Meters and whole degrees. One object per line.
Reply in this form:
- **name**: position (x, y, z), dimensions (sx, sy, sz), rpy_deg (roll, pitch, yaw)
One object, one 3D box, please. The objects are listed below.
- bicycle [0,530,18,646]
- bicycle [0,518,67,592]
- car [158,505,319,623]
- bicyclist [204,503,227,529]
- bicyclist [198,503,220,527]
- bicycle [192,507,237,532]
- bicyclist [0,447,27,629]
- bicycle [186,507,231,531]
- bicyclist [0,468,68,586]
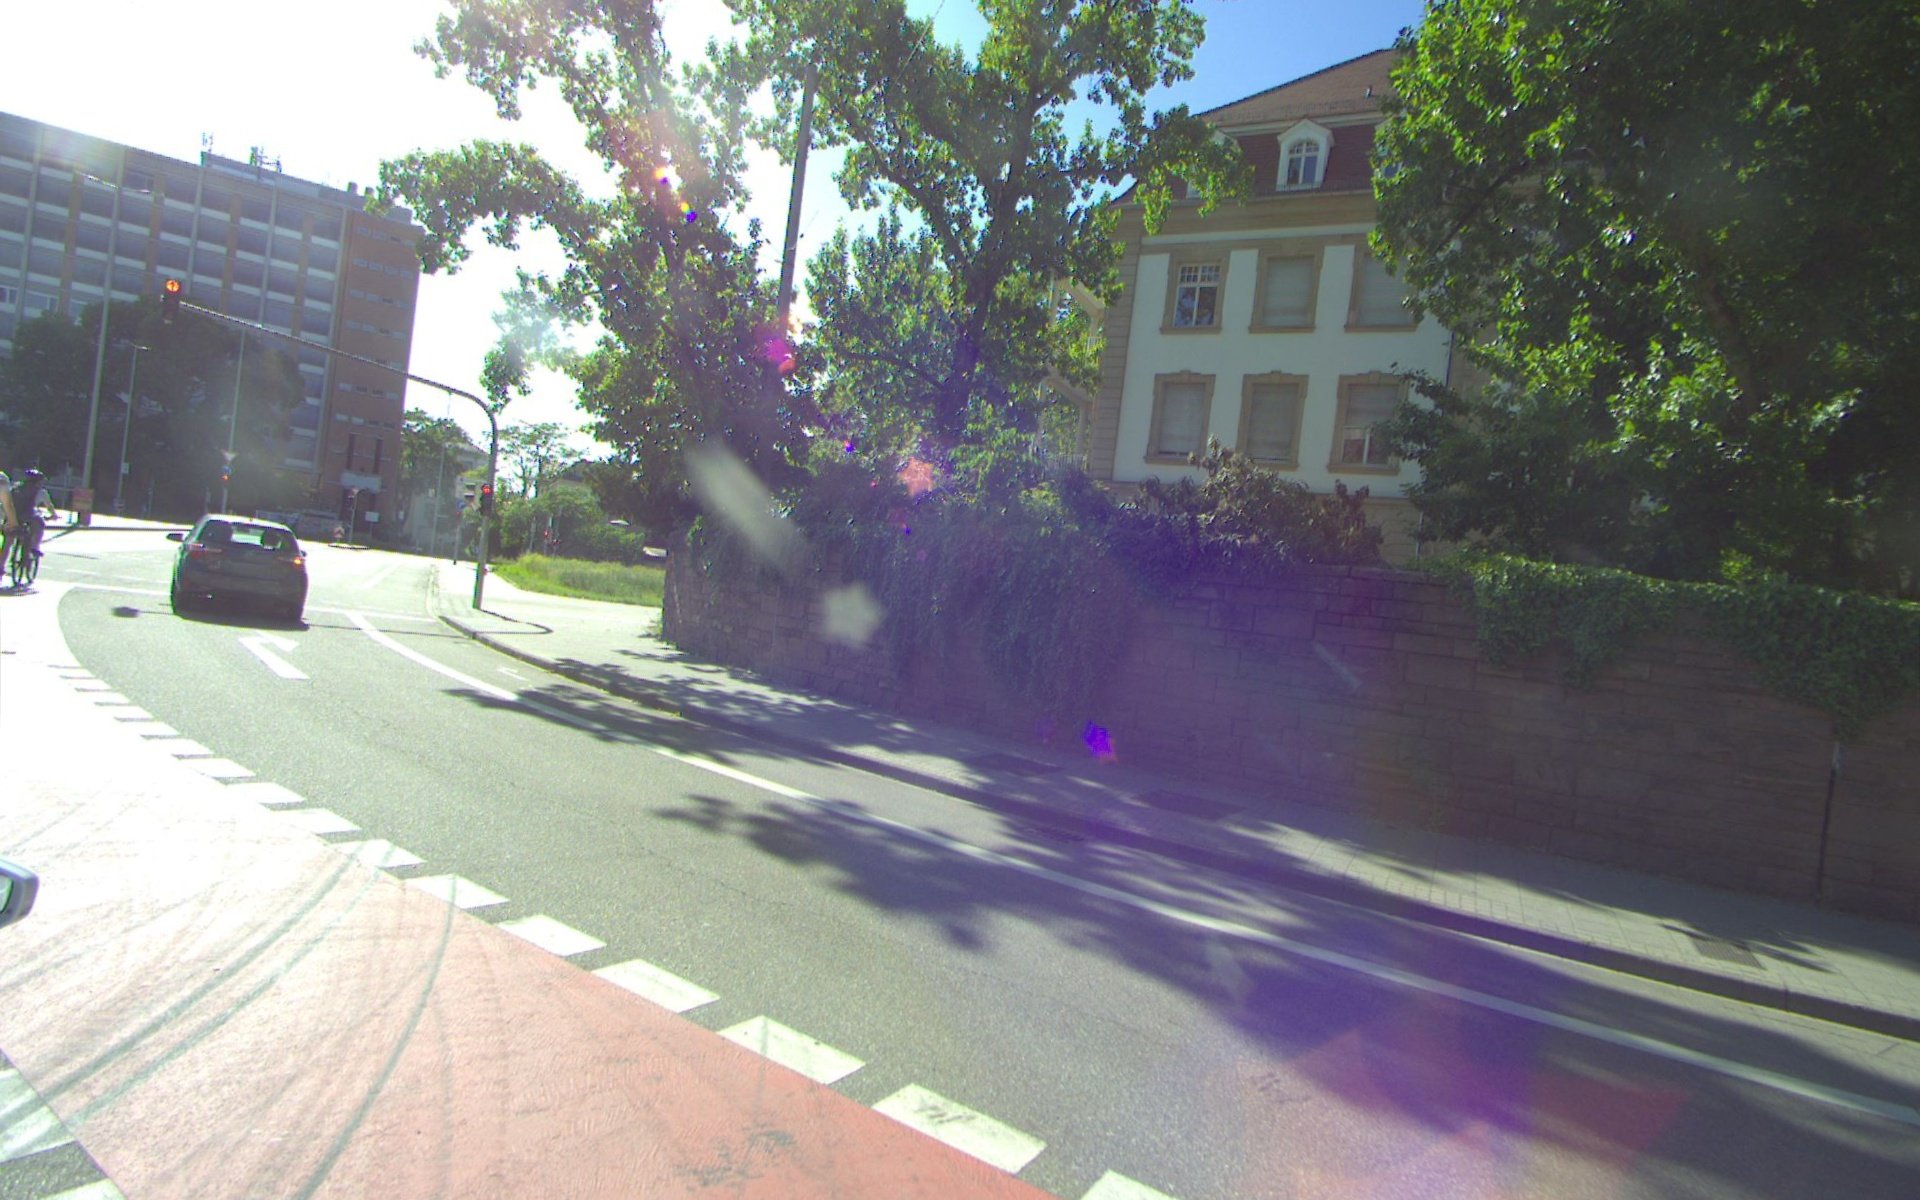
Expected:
- **bicycle**: position (-10.021, -0.180, 10.124), dimensions (0.660, 1.060, 1.867), rpy_deg (8, 0, -42)
- **bicycle**: position (-14.384, -0.714, 15.432), dimensions (0.719, 0.971, 1.865), rpy_deg (9, -1, -35)
- **car**: position (-12.075, -0.641, 16.750), dimensions (1.750, 1.560, 3.617), rpy_deg (8, -1, -41)
- **bicyclist**: position (-62.914, -7.075, 85.006), dimensions (1.196, 1.919, 0.879), rpy_deg (8, -1, -25)
- **bicyclist**: position (-64.202, -7.269, 86.029), dimensions (1.146, 1.818, 0.879), rpy_deg (8, -1, -25)
- **bicycle**: position (-62.964, -6.786, 85.009), dimensions (2.776, 1.558, 0.879), rpy_deg (8, -2, -25)
- **bicyclist**: position (-9.865, -0.663, 10.033), dimensions (0.661, 1.768, 0.993), rpy_deg (7, 0, -43)
- **bicycle**: position (-64.253, -6.910, 86.027), dimensions (2.776, 1.558, 0.879), rpy_deg (8, -2, -25)
- **bicyclist**: position (-14.224, -1.111, 15.288), dimensions (0.718, 1.645, 1.045), rpy_deg (8, 0, -35)
